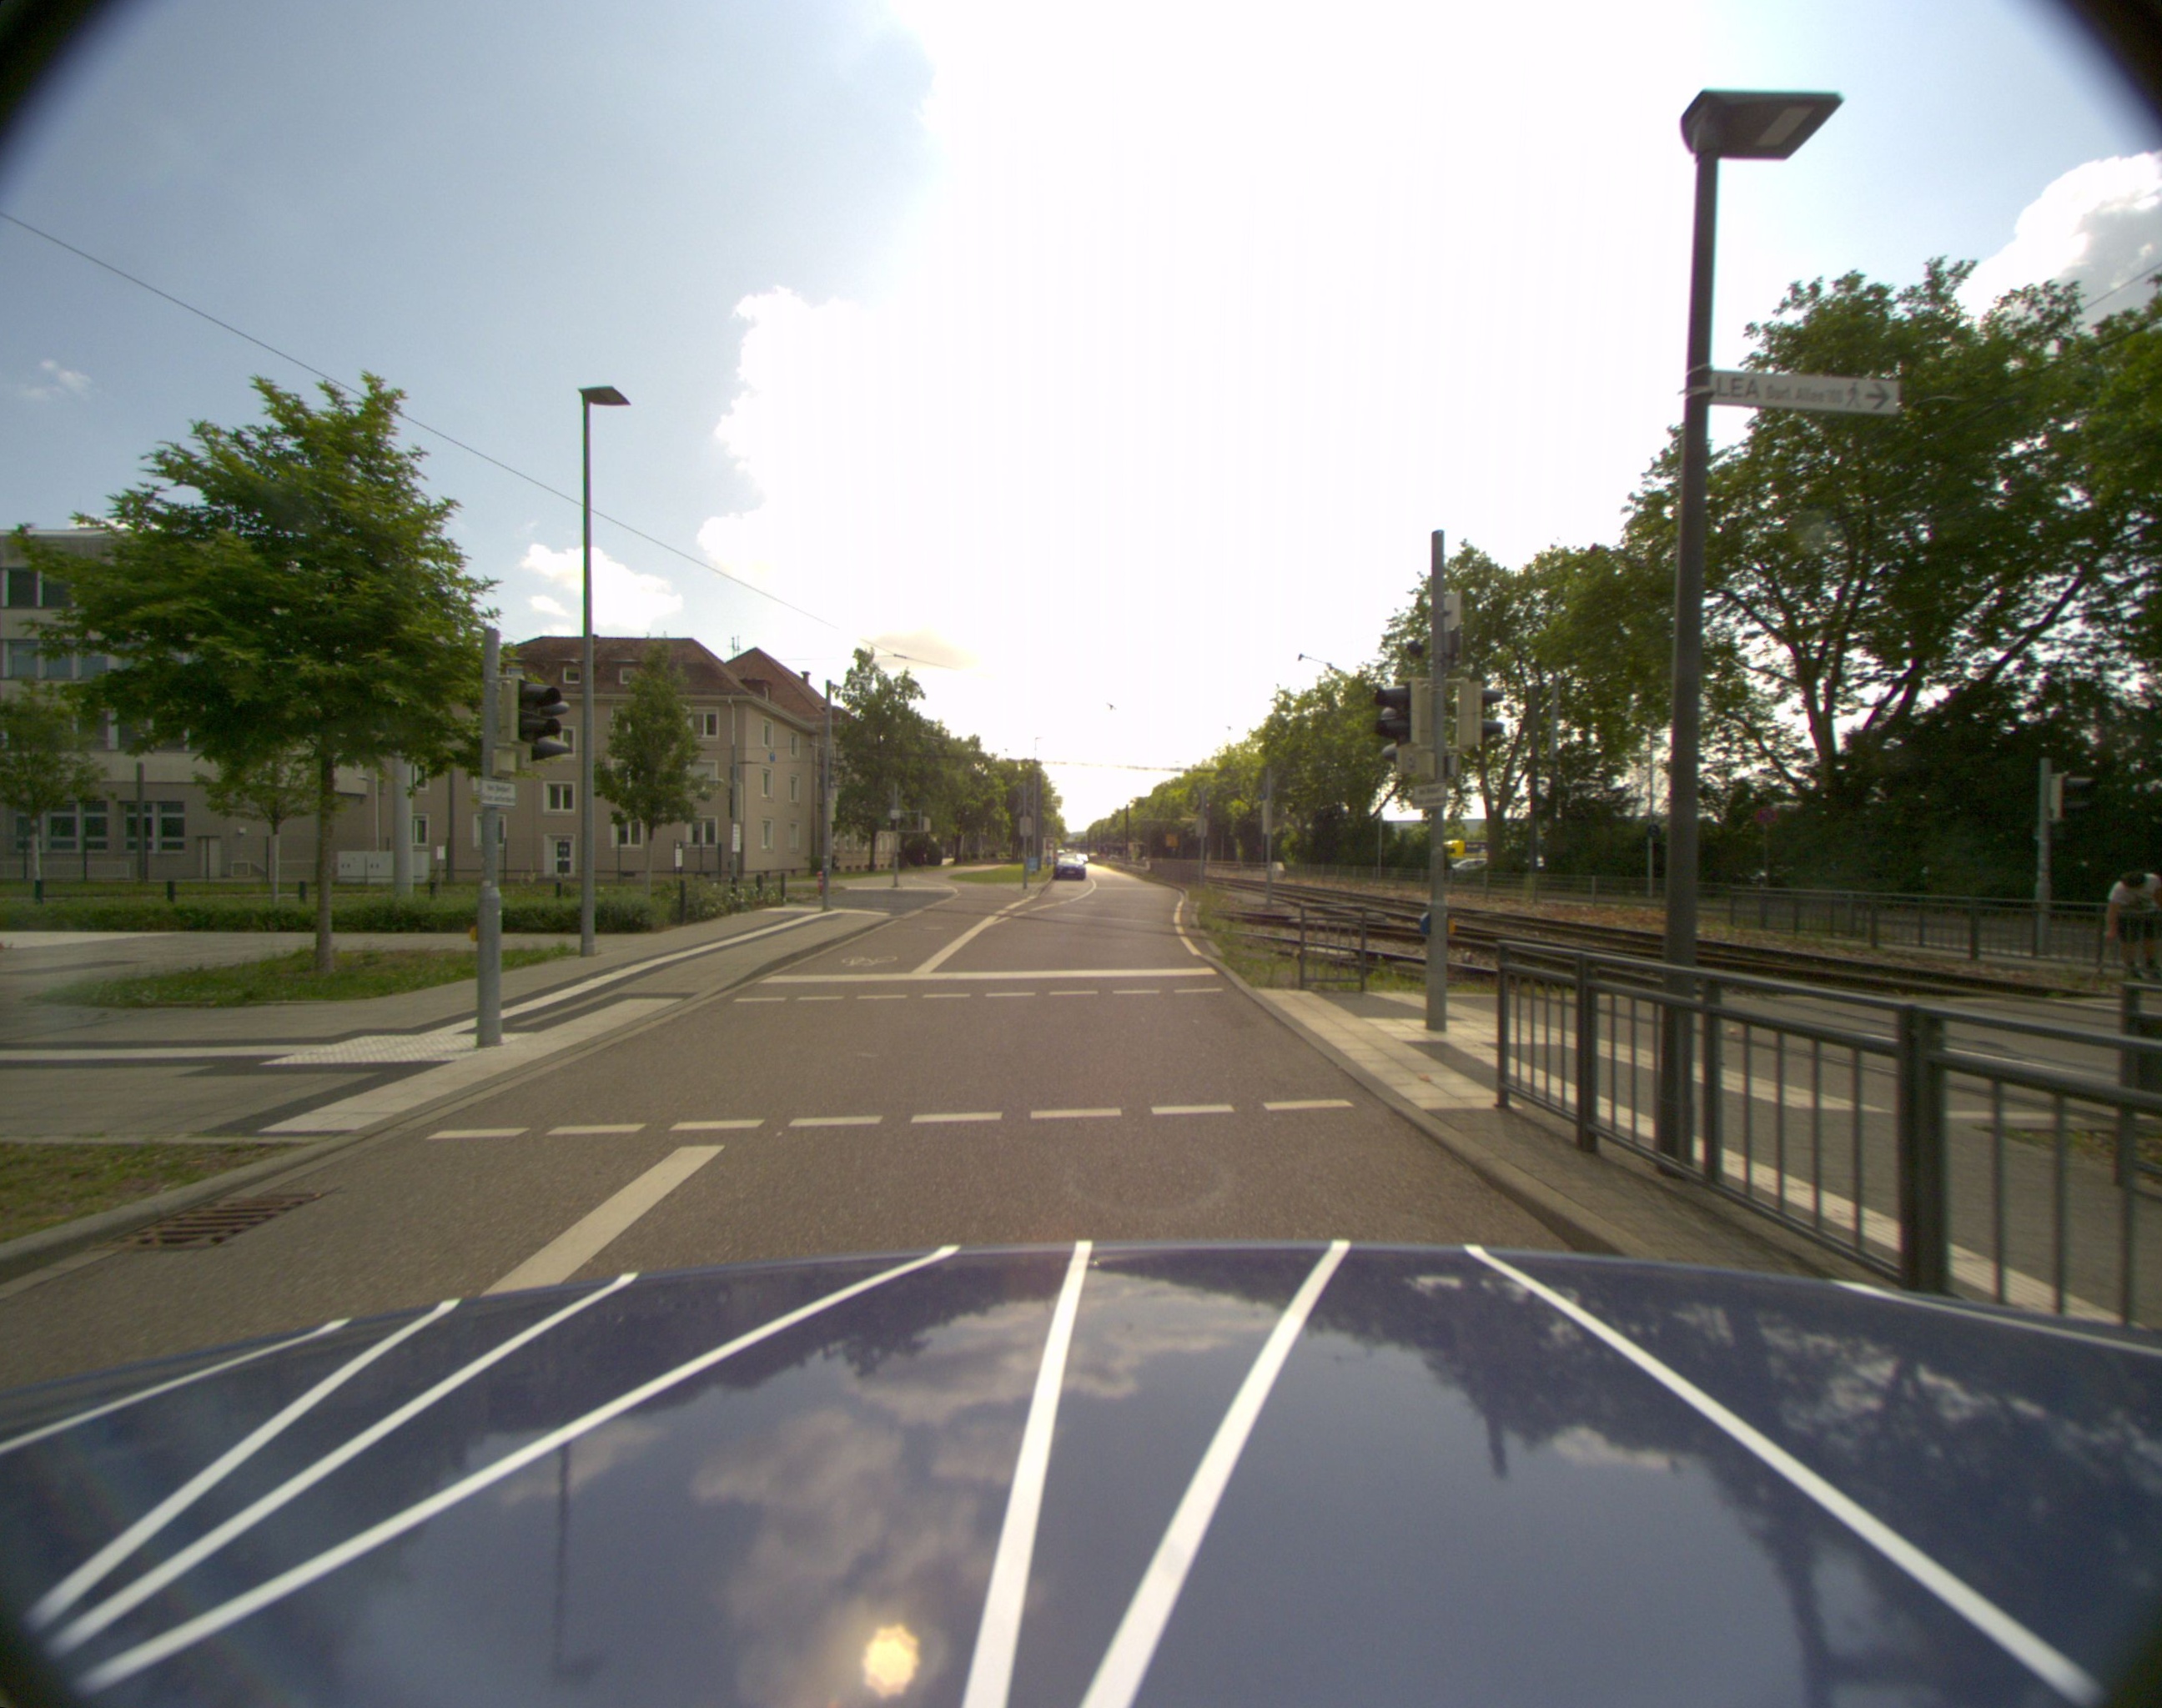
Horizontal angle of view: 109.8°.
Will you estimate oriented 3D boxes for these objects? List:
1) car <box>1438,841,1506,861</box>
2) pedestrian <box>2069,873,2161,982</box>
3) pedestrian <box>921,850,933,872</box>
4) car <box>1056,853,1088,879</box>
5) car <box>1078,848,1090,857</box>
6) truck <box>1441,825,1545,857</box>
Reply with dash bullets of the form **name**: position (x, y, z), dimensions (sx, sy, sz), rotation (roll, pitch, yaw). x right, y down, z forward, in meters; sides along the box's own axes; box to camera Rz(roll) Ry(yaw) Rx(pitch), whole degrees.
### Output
- **car**: position (29.136, -0.214, 56.676), dimensions (3.997, 1.433, 2.000), rotation (0, 0, -1)
- **pedestrian**: position (13.834, 0.943, 10.008), dimensions (0.866, 1.336, 0.920), rotation (1, 1, -35)
- **pedestrian**: position (-11.418, 0.501, 56.439), dimensions (0.623, 1.598, 0.625), rotation (2, 1, 12)
- **car**: position (-0.588, 0.706, 47.233), dimensions (1.784, 1.531, 4.419), rotation (2, 0, -3)
- **car**: position (0.571, -0.273, 140.375), dimensions (1.999, 1.710, 4.304), rotation (2, 0, -1)
- **truck**: position (56.872, -1.778, 105.107), dimensions (12.820, 4.050, 2.748), rotation (2, 1, 0)
